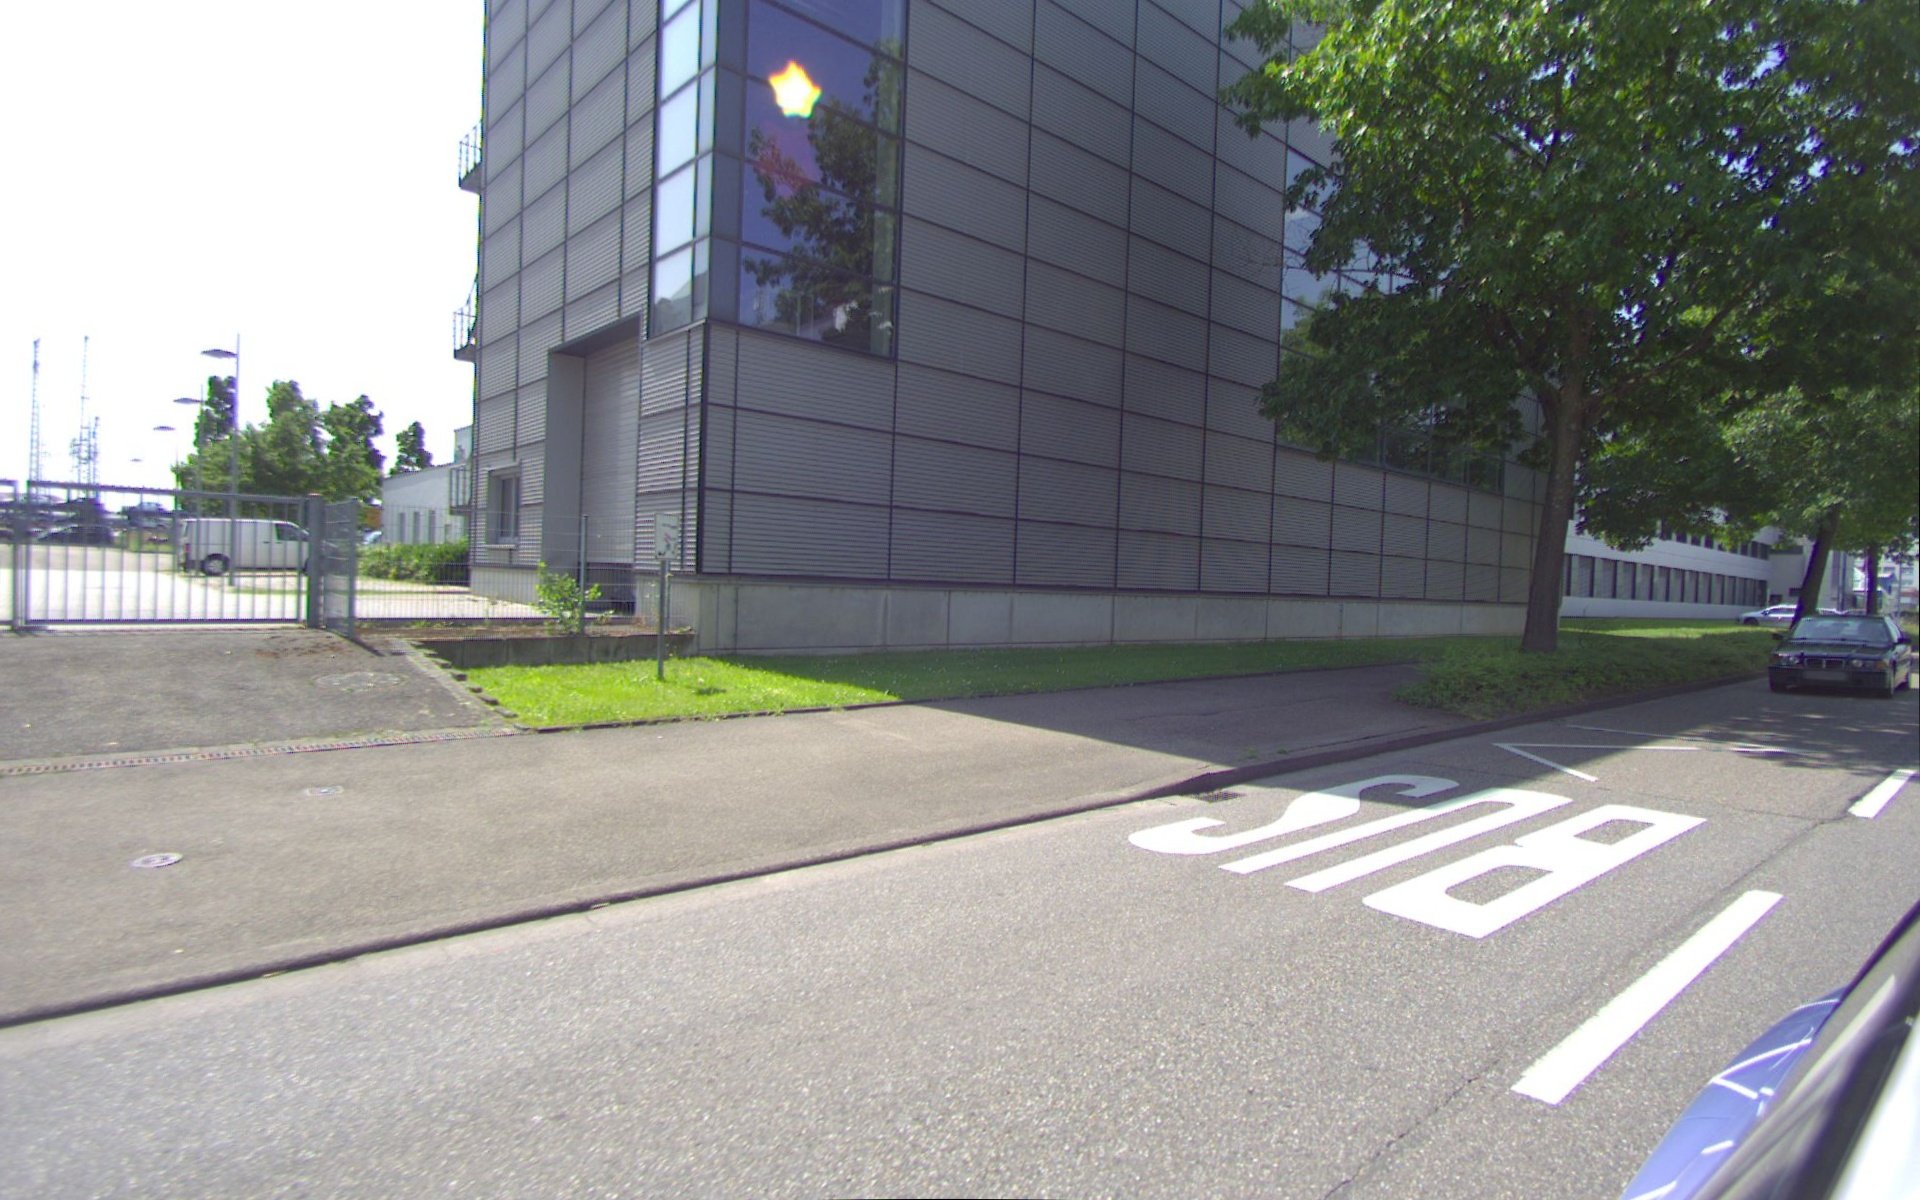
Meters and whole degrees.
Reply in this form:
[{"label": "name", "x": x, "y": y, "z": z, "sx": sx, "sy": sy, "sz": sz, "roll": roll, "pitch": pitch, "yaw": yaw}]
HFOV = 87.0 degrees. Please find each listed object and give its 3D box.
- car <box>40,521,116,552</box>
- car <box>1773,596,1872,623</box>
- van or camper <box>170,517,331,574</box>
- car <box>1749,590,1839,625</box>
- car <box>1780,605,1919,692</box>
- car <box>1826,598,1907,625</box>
[{"label": "car", "x": -64.088, "y": -4.587, "z": 73.623, "sx": 4.059, "sy": 2.001, "sz": 1.996, "roll": 2, "pitch": -1, "yaw": -42}, {"label": "car", "x": 54.646, "y": 0.582, "z": 64.181, "sx": 4.616, "sy": 1.407, "sz": 1.968, "roll": 4, "pitch": 3, "yaw": 44}, {"label": "van or camper", "x": -25.257, "y": -1.910, "z": 36.102, "sx": 4.461, "sy": 1.816, "sz": 1.996, "roll": 0, "pitch": 3, "yaw": -43}, {"label": "car", "x": 48.198, "y": 0.418, "z": 58.523, "sx": 1.704, "sy": 1.611, "sz": 3.817, "roll": 1, "pitch": 4, "yaw": -45}, {"label": "car", "x": 16.002, "y": 0.818, "z": 18.015, "sx": 3.691, "sy": 1.356, "sz": 1.630, "roll": 2, "pitch": 0, "yaw": -42}, {"label": "car", "x": 66.645, "y": 0.848, "z": 74.434, "sx": 1.967, "sy": 1.710, "sz": 4.263, "roll": 1, "pitch": 3, "yaw": -45}]
